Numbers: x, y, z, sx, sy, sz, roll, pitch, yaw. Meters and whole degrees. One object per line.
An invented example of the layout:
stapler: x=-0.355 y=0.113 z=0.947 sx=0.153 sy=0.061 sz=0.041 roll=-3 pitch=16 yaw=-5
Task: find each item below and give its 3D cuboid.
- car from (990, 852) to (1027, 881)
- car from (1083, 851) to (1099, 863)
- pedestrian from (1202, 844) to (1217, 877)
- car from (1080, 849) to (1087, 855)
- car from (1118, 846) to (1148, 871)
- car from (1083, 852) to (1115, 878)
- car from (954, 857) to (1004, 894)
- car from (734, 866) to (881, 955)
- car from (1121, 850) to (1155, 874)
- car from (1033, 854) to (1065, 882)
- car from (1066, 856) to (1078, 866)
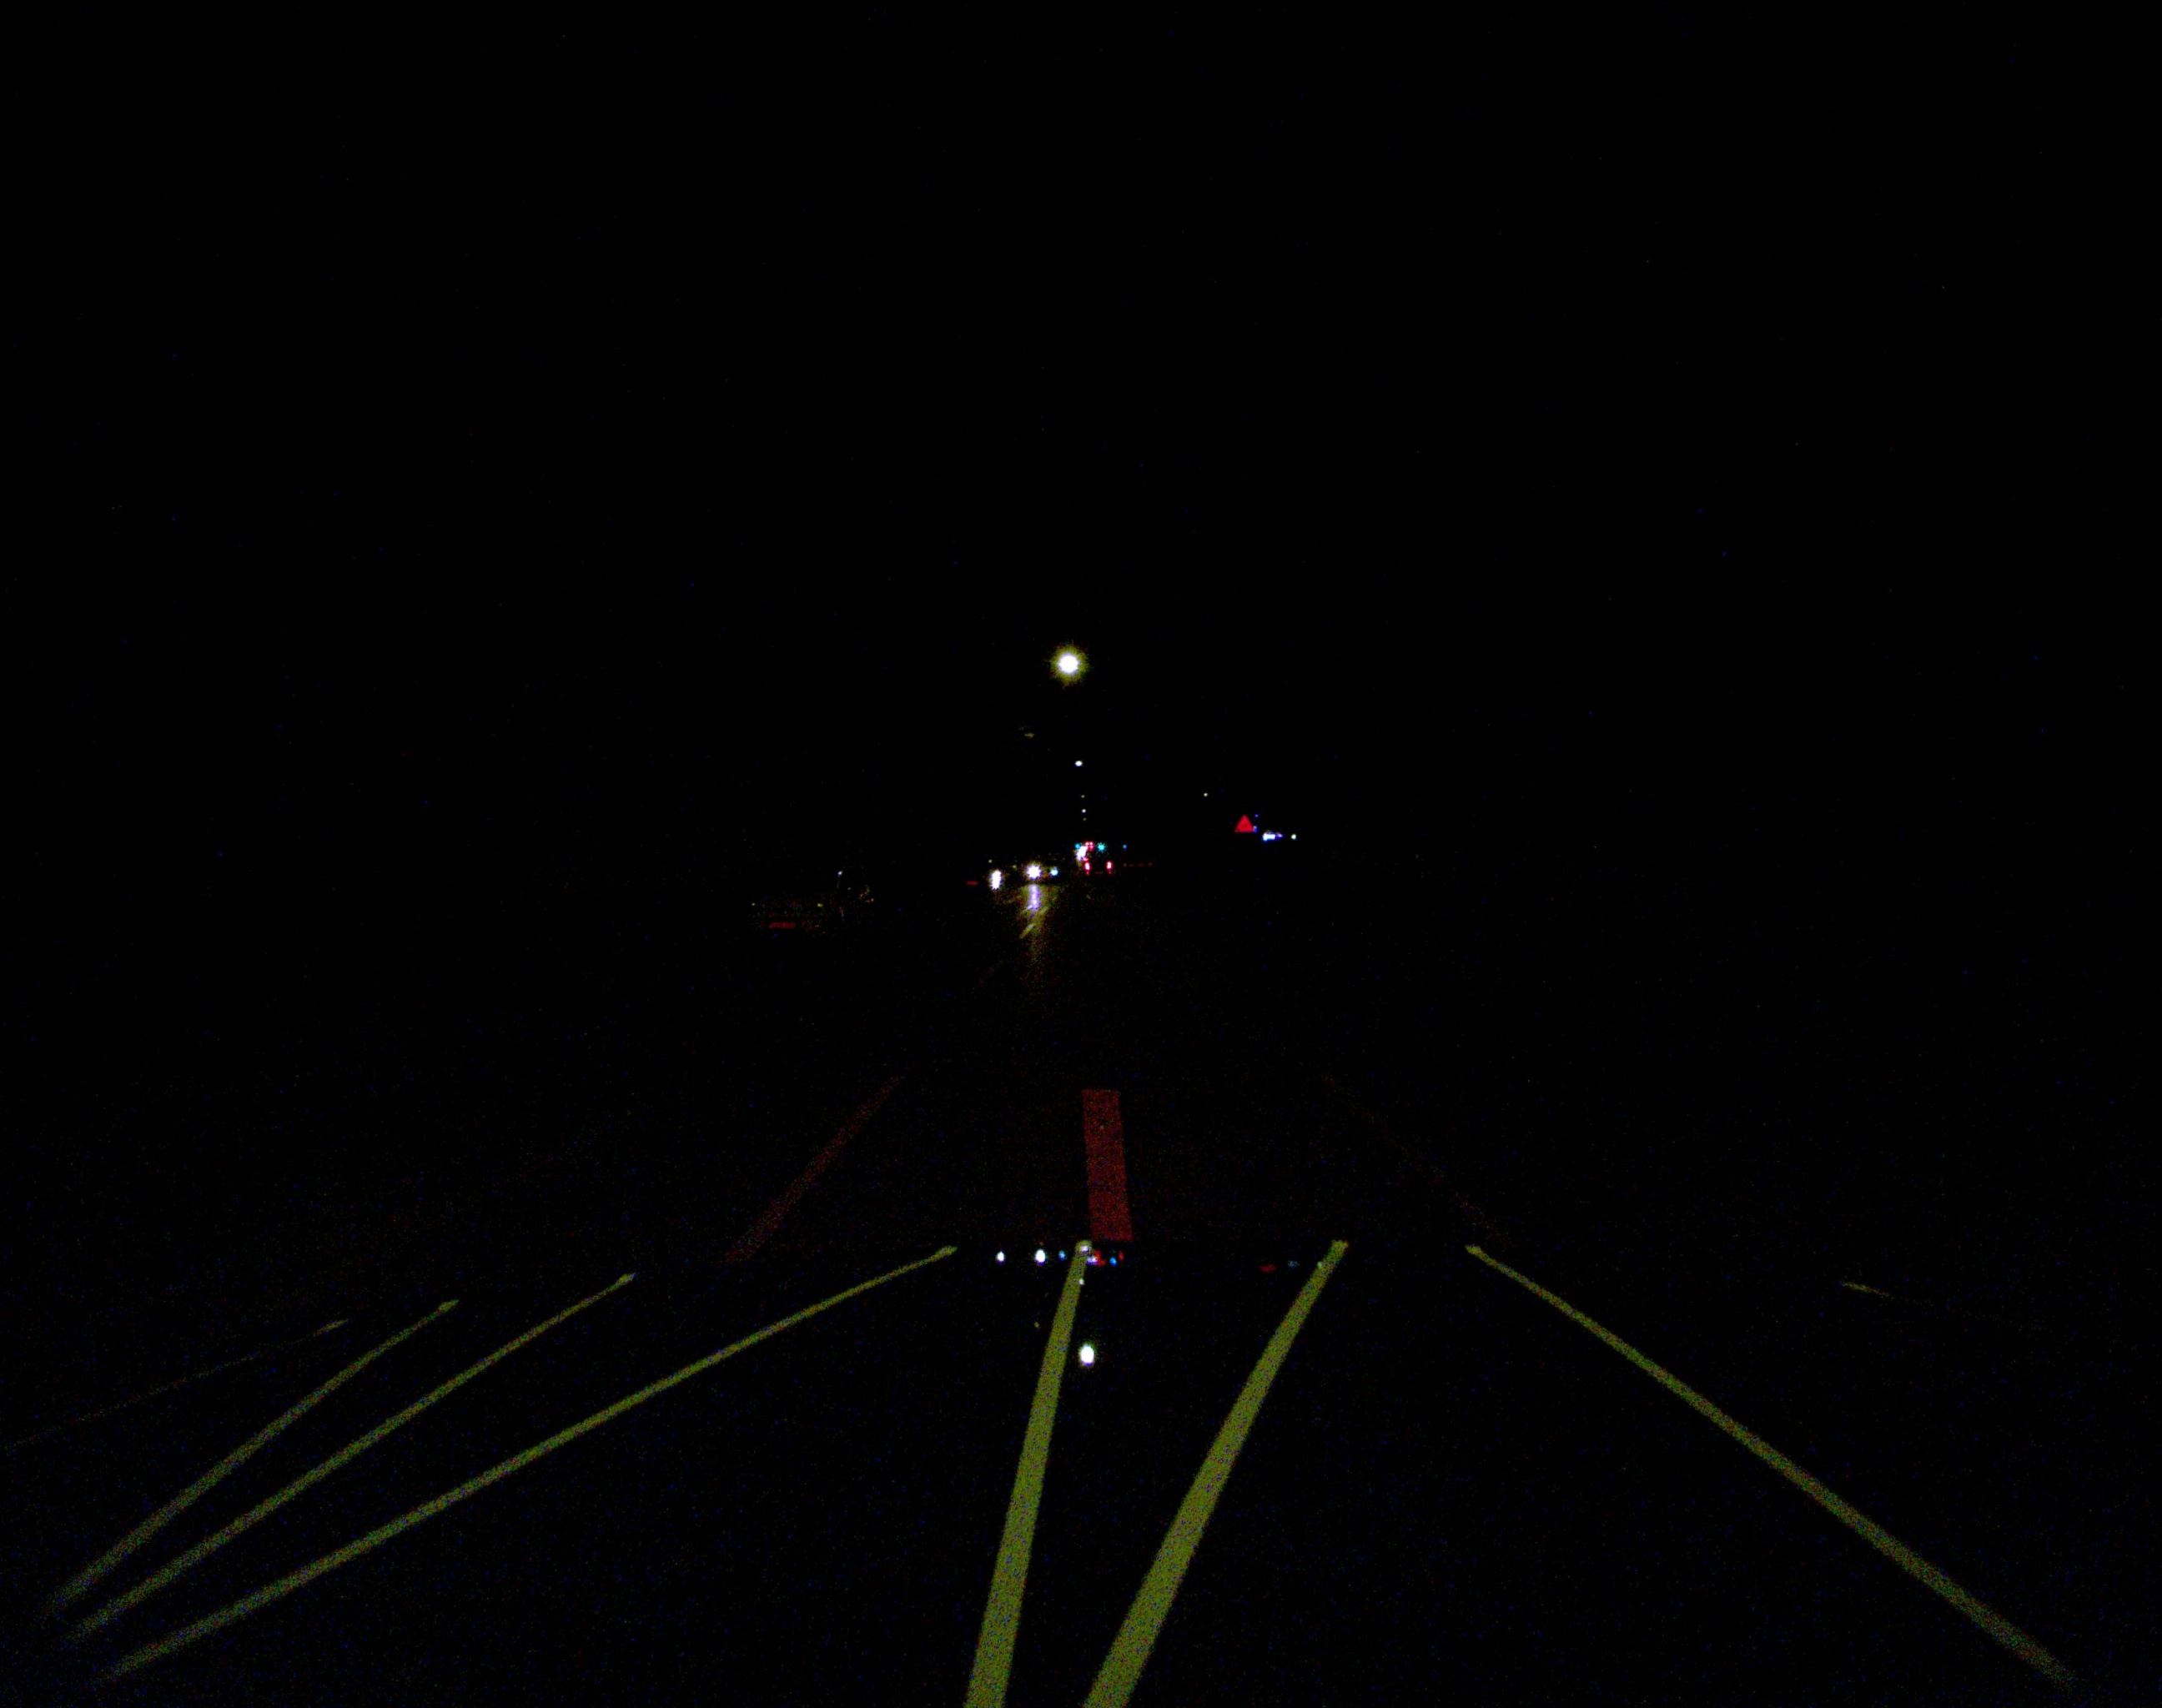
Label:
car: x=-4.460 y=0.743 z=47.469 sx=1.852 sy=1.643 sz=4.179 roll=-2 pitch=0 yaw=0
car: x=1.456 y=0.456 z=109.432 sx=1.903 sy=1.581 sz=3.661 roll=-2 pitch=1 yaw=4
pedestrian: x=7.028 y=0.363 z=41.659 sx=0.673 sy=1.750 sz=0.500 roll=-2 pitch=1 yaw=1
car: x=0.845 y=-0.529 z=225.500 sx=1.998 sy=1.740 sz=3.999 roll=-2 pitch=1 yaw=1
car: x=3.869 y=0.306 z=56.932 sx=1.998 sy=1.772 sz=3.999 roll=-2 pitch=1 yaw=1
car: x=1.100 y=0.712 z=47.320 sx=1.755 sy=1.433 sz=3.487 roll=-2 pitch=-2 yaw=-2
car: x=-4.469 y=0.898 z=33.936 sx=1.742 sy=1.489 sz=3.890 roll=-1 pitch=0 yaw=-1
car: x=-5.273 y=1.016 z=15.092 sx=1.611 sy=1.500 sz=3.486 roll=0 pitch=0 yaw=1
car: x=3.890 y=0.505 z=52.070 sx=1.998 sy=1.477 sz=3.999 roll=-3 pitch=1 yaw=1
car: x=-1.862 y=0.819 z=45.119 sx=1.780 sy=1.477 sz=3.999 roll=-2 pitch=1 yaw=-1
car: x=-1.524 y=1.214 z=134.740 sx=1.998 sy=1.718 sz=3.803 roll=-2 pitch=1 yaw=1
